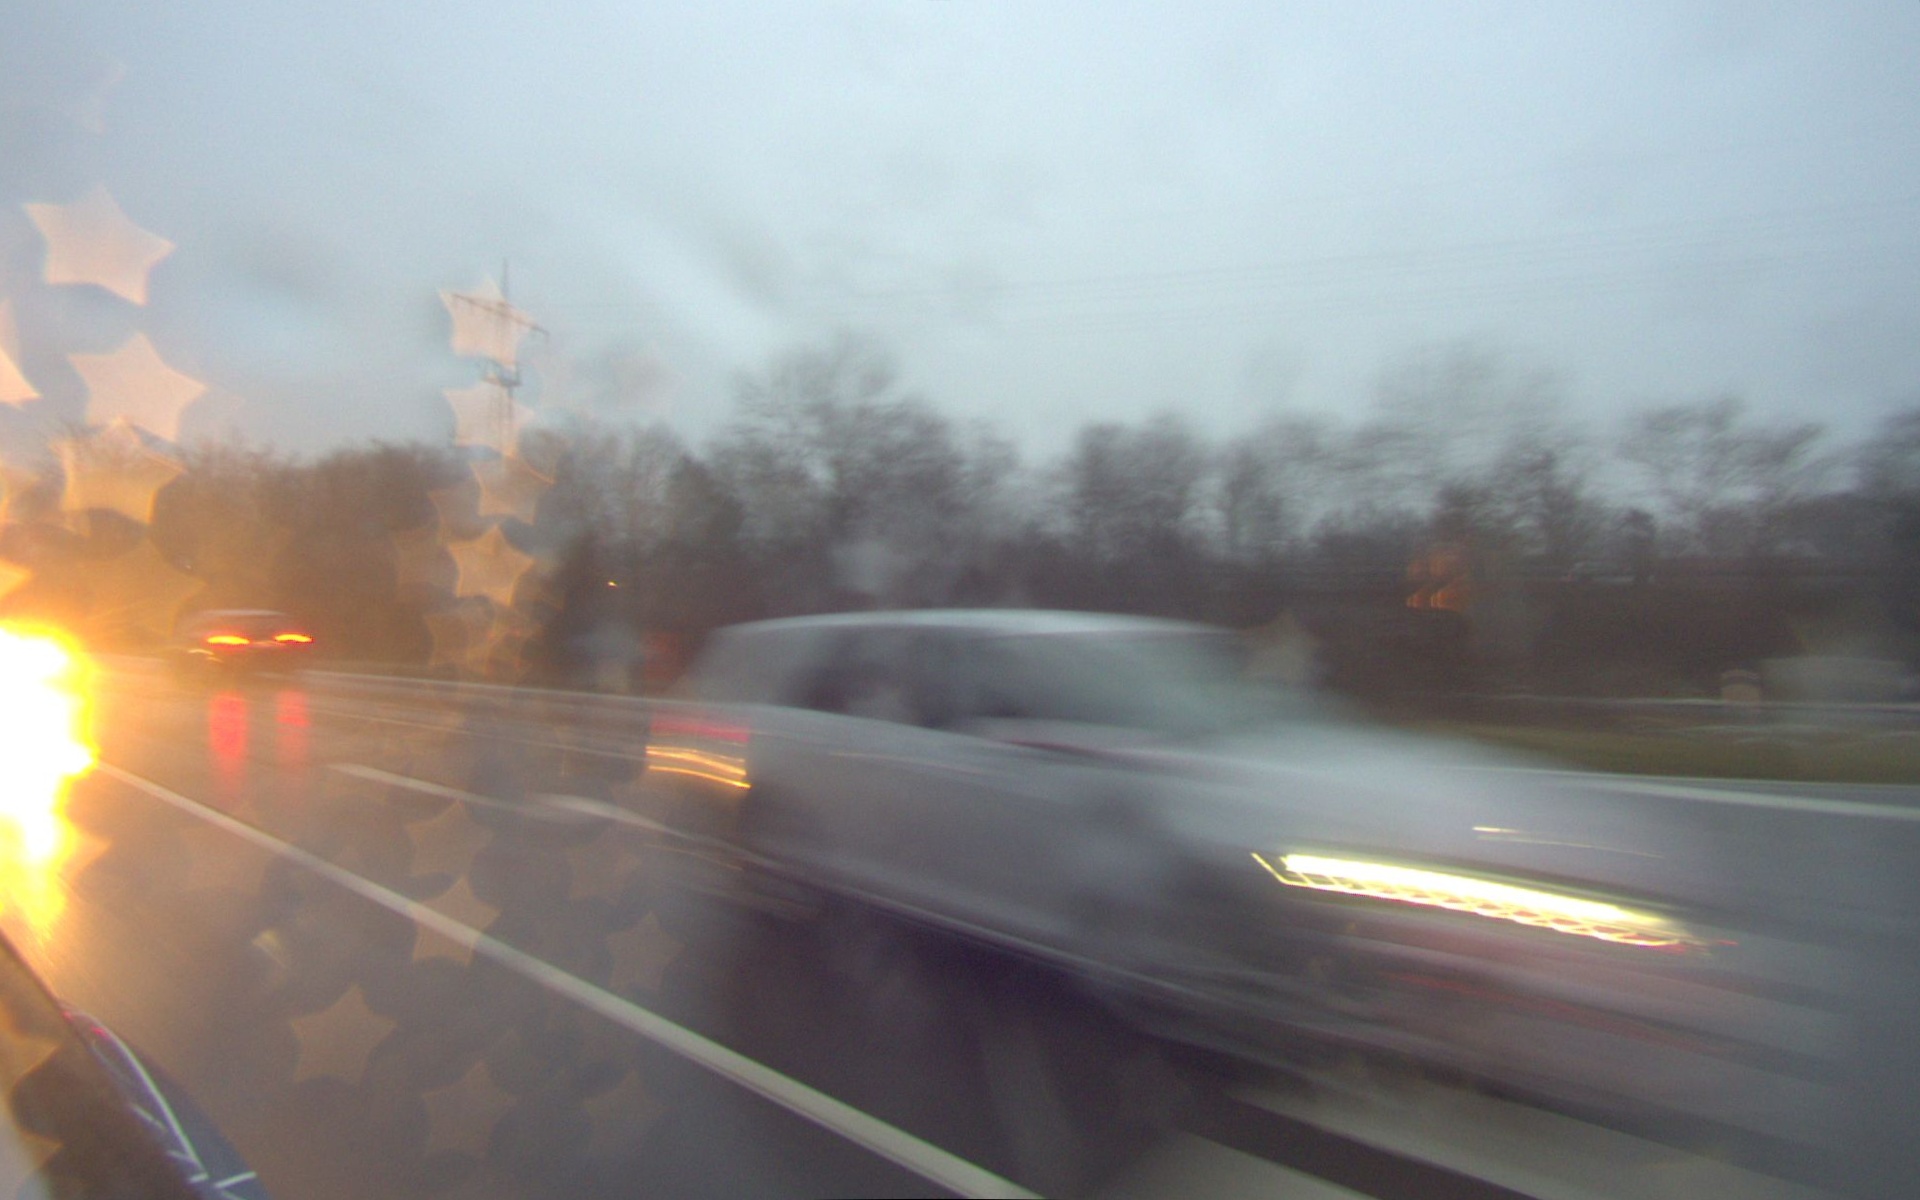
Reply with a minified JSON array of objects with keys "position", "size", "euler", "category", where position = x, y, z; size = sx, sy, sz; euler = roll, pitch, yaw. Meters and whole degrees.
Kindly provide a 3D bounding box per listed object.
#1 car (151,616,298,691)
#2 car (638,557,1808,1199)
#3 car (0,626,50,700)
[{"position":[-16.921,1.159,23.208],"size":[4.375,1.568,1.630],"euler":[-1,-2,39],"category":"car"},{"position":[0.708,0.725,4.392],"size":[4.515,1.567,1.984],"euler":[-1,-1,41],"category":"car"},{"position":[-20.777,1.294,21.404],"size":[4.166,1.432,1.616],"euler":[-1,0,38],"category":"car"}]
